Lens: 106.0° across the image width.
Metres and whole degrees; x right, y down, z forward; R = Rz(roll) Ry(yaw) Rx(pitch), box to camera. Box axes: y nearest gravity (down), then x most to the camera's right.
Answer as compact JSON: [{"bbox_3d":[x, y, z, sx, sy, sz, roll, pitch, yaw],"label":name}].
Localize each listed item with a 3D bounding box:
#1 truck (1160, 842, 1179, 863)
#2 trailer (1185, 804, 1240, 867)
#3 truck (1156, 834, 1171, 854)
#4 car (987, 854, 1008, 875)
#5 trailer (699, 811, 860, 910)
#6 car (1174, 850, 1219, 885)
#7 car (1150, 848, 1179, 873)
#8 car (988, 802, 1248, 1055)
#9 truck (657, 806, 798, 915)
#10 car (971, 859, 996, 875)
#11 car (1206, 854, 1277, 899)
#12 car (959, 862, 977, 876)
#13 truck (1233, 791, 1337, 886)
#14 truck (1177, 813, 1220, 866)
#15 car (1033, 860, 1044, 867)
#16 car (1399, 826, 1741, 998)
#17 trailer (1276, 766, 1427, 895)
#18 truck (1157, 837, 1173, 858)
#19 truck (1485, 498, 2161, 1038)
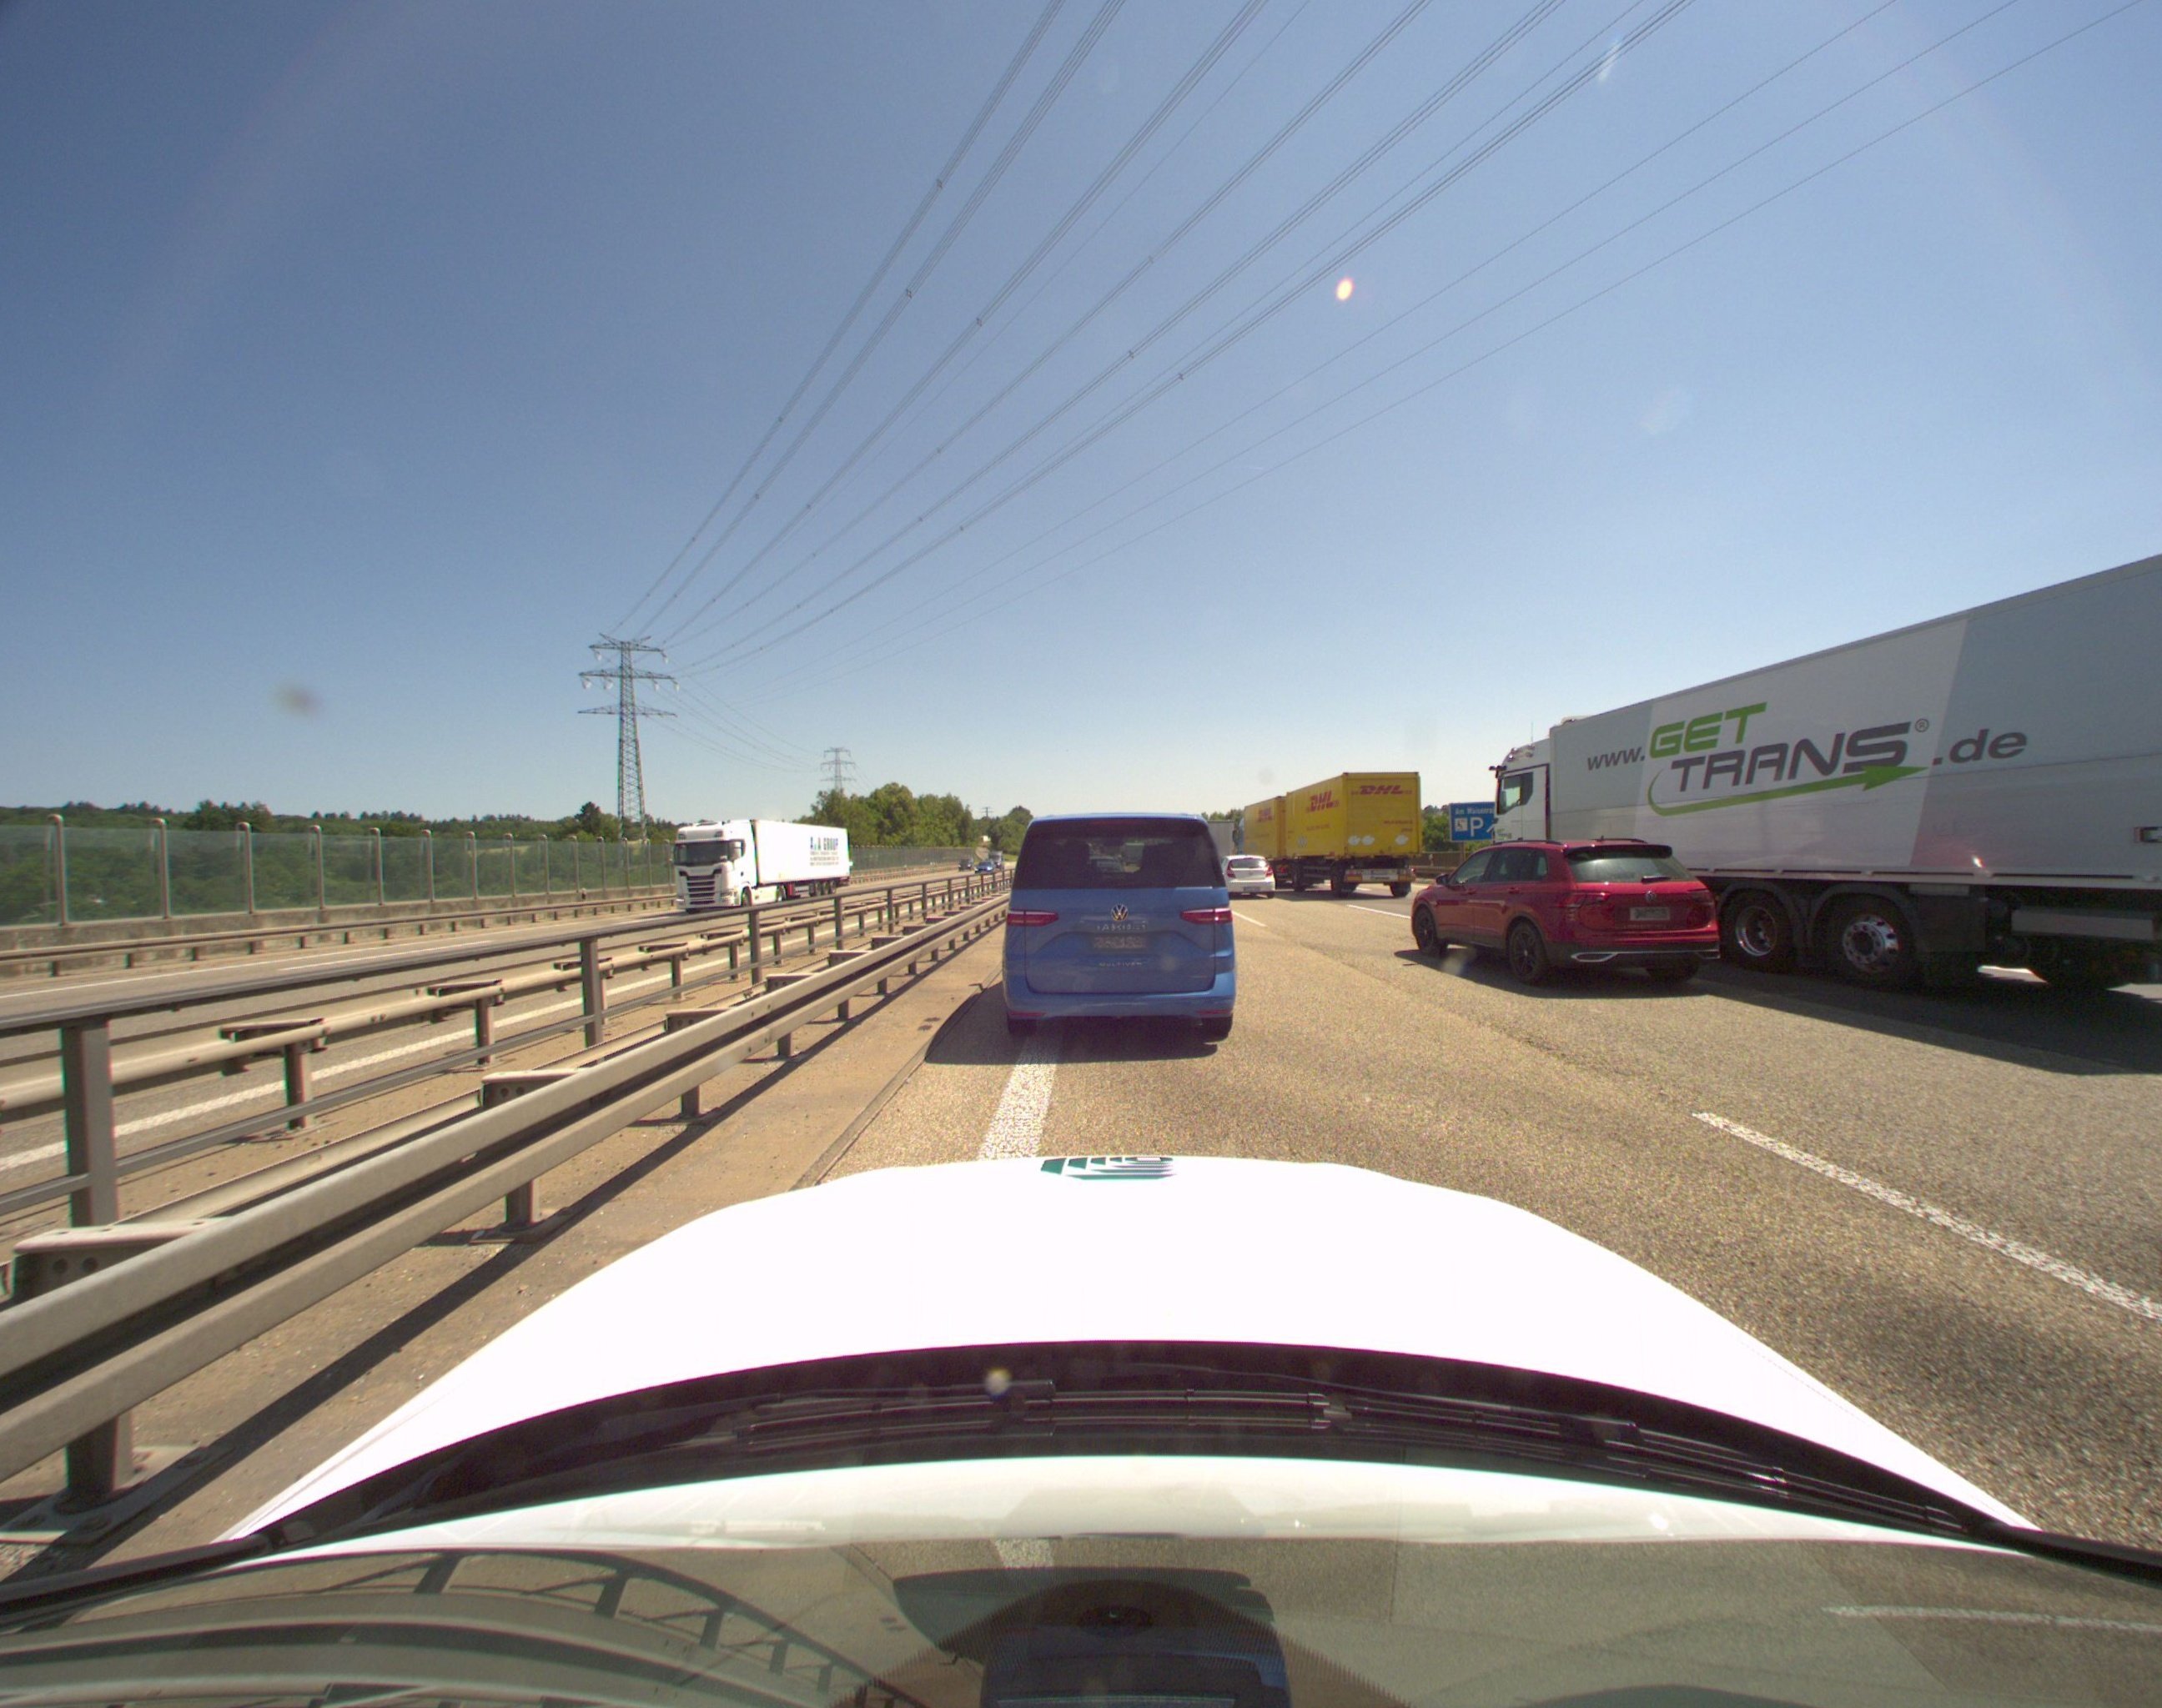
[{"bbox_3d":[10.126,-0.148,93.553,1.791,2.449,4.506,0,-1,2],"label":"truck"},{"bbox_3d":[10.411,-1.291,65.519,3.015,4.611,10.929,0,-1,2],"label":"trailer"},{"bbox_3d":[10.889,-1.285,107.683,1.790,2.596,4.307,0,-1,2],"label":"truck"},{"bbox_3d":[-11.489,1.427,112.250,1.987,2.582,6.650,-4,-1,0],"label":"car"},{"bbox_3d":[-15.507,0.361,43.685,2.895,4.307,13.667,-3,-1,2],"label":"trailer"},{"bbox_3d":[5.734,0.653,40.909,1.808,1.679,3.933,0,-1,1],"label":"car"},{"bbox_3d":[6.663,0.538,65.397,1.955,1.936,3.933,0,-1,1],"label":"car"},{"bbox_3d":[0.324,0.573,8.053,1.923,1.874,4.001,0,-1,1],"label":"car"},{"bbox_3d":[-15.724,0.292,36.884,2.917,4.293,6.861,-4,-1,2],"label":"truck"},{"bbox_3d":[-10.067,1.330,84.335,1.765,1.491,4.607,-2,0,2],"label":"car"},{"bbox_3d":[5.605,0.749,28.800,1.809,1.470,3.933,0,-1,1],"label":"car"},{"bbox_3d":[-17.145,2.280,123.458,1.951,1.905,4.950,-3,-1,0],"label":"car"},{"bbox_3d":[9.699,-0.613,39.976,2.690,4.088,9.939,0,-1,0],"label":"truck"},{"bbox_3d":[10.717,-1.185,74.958,3.015,4.611,7.924,0,-1,2],"label":"truck"},{"bbox_3d":[-9.392,2.075,178.918,1.986,1.544,4.387,-3,-1,2],"label":"car"},{"bbox_3d":[5.745,0.607,10.310,1.703,1.679,4.283,-2,-1,0],"label":"car"},{"bbox_3d":[9.693,-0.706,30.483,2.674,4.088,8.979,0,-1,0],"label":"trailer"},{"bbox_3d":[10.534,-0.836,102.248,1.735,2.549,4.211,0,-1,2],"label":"truck"},{"bbox_3d":[9.395,-0.578,10.934,2.842,3.934,10.611,0,-1,1],"label":"truck"}]
